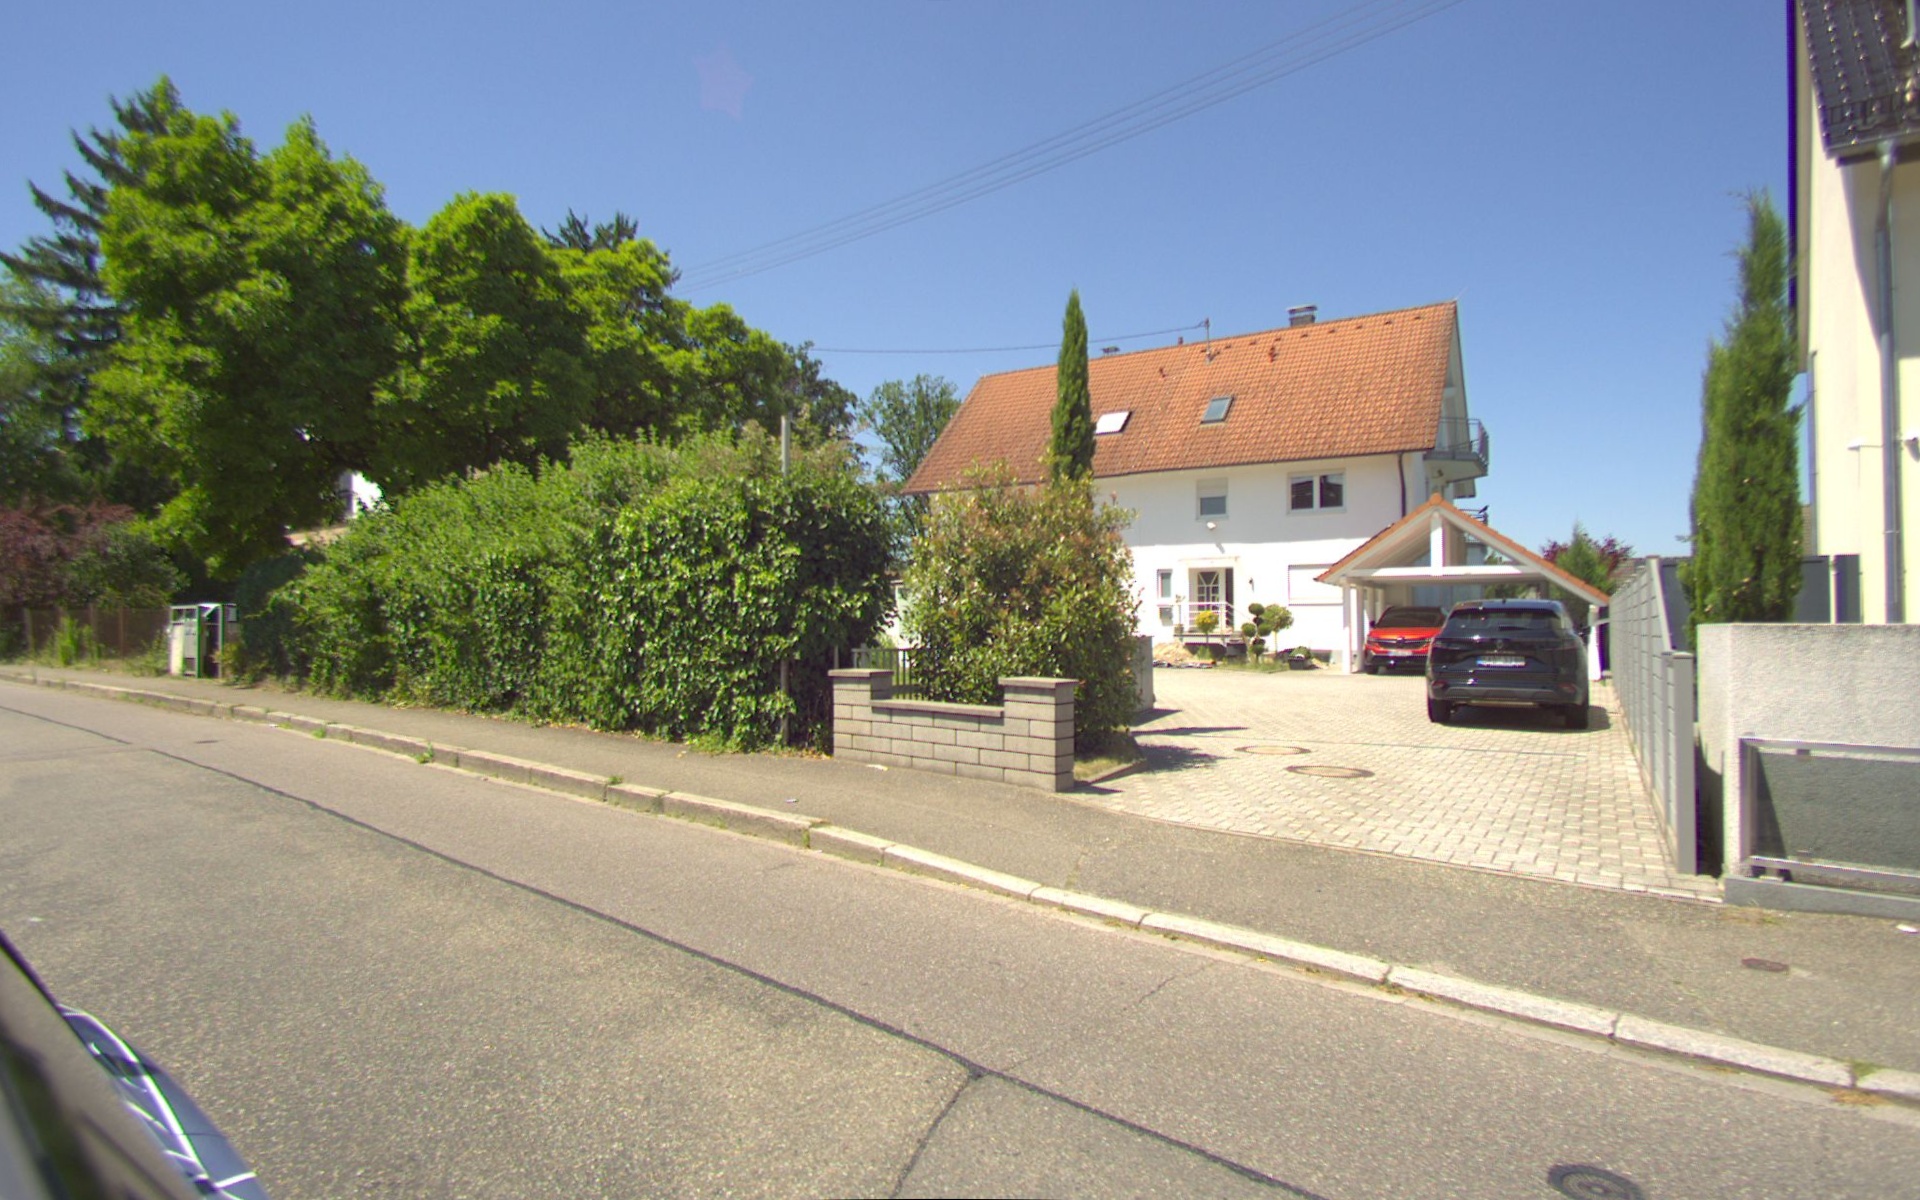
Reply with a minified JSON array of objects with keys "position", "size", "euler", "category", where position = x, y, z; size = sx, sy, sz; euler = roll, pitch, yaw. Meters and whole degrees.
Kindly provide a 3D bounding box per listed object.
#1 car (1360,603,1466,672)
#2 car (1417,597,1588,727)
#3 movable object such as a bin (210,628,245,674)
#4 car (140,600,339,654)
[{"position":[11.025,0.862,24.502],"size":[1.794,1.522,3.956],"euler":[-1,-1,32],"category":"car"},{"position":[7.598,0.759,13.984],"size":[1.794,1.522,3.956],"euler":[-1,-1,32],"category":"car"},{"position":[-15.350,1.060,21.205],"size":[0.458,0.916,0.463],"euler":[-1,0,36],"category":"movable object such as a bin"},{"position":[-31.037,1.221,43.892],"size":[2.393,2.188,6.612],"euler":[-1,-3,30],"category":"car"}]
